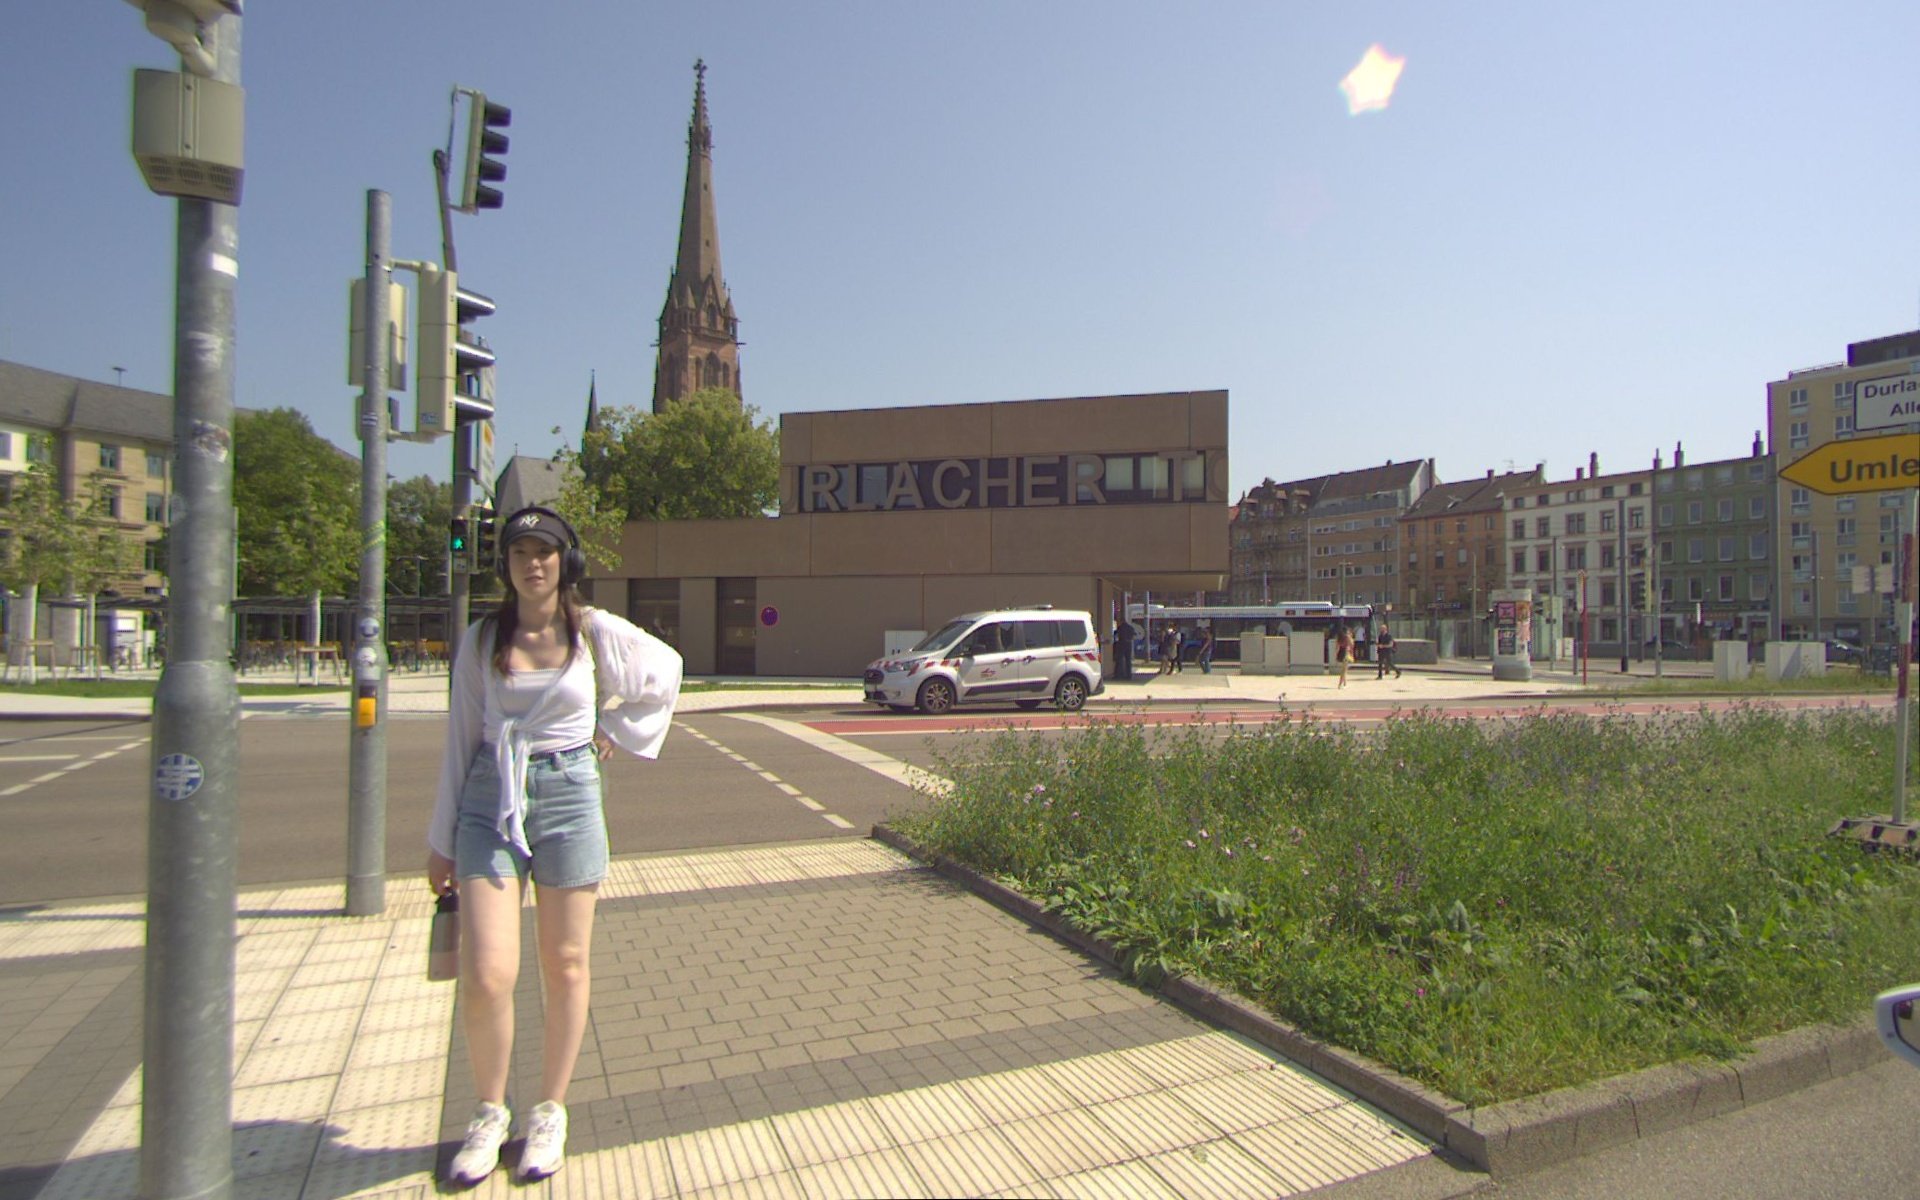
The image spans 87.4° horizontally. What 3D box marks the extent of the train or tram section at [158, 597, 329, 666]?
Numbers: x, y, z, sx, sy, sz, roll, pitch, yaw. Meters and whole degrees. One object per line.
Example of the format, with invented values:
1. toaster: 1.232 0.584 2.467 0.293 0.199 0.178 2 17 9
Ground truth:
1. train or tram section: -39.852 1.842 55.960 8.160 3.606 3.141 -1 -4 14

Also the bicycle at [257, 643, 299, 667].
1. bicycle: -29.703 2.389 43.751 1.735 1.053 0.527 -1 -3 17

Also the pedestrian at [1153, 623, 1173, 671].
1. pedestrian: 6.902 1.589 34.153 0.502 1.635 0.489 -1 -2 38

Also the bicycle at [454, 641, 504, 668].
1. bicycle: -18.853 2.140 39.377 1.700 1.053 0.513 0 -2 2

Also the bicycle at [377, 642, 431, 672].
1. bicycle: -20.016 2.052 36.164 1.699 1.053 0.514 0 -2 7

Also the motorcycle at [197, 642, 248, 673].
1. motorcycle: -25.813 2.007 35.157 1.744 1.083 0.491 -1 -3 17

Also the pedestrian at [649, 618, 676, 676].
1. pedestrian: -8.695 1.372 29.360 0.525 1.700 0.569 -1 -2 14

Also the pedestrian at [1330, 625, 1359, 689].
1. pedestrian: 10.799 1.590 28.218 0.616 1.725 0.786 2 -1 28

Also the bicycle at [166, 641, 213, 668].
1. bicycle: -30.407 2.157 39.633 1.735 1.053 0.527 -1 -3 17

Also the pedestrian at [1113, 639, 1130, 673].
1. pedestrian: 5.269 1.830 32.750 0.490 1.098 0.541 0 -2 13

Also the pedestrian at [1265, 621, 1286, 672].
1. pedestrian: 11.172 1.637 35.549 0.540 1.786 0.697 0 -2 1

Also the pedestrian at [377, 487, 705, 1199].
1. pedestrian: -1.080 0.602 2.743 0.596 1.717 0.700 0 -2 -2

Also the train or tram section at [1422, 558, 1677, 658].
1. train or tram section: 23.238 0.430 40.144 8.078 3.616 3.148 -2 -4 14

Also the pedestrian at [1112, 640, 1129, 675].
1. pedestrian: 5.142 1.827 32.199 0.490 1.098 0.541 0 -2 13

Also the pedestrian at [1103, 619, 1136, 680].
1. pedestrian: 4.524 1.407 28.492 0.623 1.711 0.743 1 -2 -22

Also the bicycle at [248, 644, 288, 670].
1. bicycle: -27.979 2.292 40.609 1.608 1.053 0.413 -1 -2 17

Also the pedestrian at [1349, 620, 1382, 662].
1. pedestrian: 18.885 1.916 46.785 1.284 1.910 1.039 0 -3 16

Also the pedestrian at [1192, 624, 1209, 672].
1. pedestrian: 8.333 1.661 34.799 0.559 1.635 0.492 0 -2 11

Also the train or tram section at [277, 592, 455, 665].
1. train or tram section: -31.846 1.602 53.930 8.354 3.644 3.164 -1 -3 14

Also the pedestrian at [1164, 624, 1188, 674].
1. pedestrian: 7.049 1.591 32.753 0.679 1.635 0.639 0 -2 20

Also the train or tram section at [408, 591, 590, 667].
1. train or tram section: -23.761 1.588 51.861 8.354 3.644 3.164 -1 -3 14

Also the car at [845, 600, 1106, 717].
1. car: 0.275 1.051 18.069 4.275 1.883 1.989 1 -4 -25

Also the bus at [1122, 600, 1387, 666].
1. bus: 14.386 1.627 49.964 12.231 3.111 3.109 0 -2 15

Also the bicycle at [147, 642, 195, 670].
1. bicycle: -30.630 2.179 38.983 1.735 1.053 0.527 -1 -3 17

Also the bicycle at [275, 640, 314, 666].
1. bicycle: -27.783 2.212 41.928 1.608 1.053 0.413 -1 -2 17

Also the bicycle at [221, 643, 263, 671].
1. bicycle: -28.316 2.245 39.607 1.608 1.053 0.413 -1 -2 17

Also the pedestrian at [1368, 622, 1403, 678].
1. pedestrian: 13.446 1.576 31.774 0.797 1.725 0.643 1 -2 -21

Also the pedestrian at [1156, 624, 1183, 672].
1. pedestrian: 7.417 1.710 35.590 0.797 1.691 0.549 1 -2 -20

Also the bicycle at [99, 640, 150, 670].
1. bicycle: -31.207 2.057 37.529 1.828 1.096 0.527 -1 -3 17

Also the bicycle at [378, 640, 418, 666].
1. bicycle: -22.785 2.145 40.713 1.608 1.053 0.413 -1 -2 17
